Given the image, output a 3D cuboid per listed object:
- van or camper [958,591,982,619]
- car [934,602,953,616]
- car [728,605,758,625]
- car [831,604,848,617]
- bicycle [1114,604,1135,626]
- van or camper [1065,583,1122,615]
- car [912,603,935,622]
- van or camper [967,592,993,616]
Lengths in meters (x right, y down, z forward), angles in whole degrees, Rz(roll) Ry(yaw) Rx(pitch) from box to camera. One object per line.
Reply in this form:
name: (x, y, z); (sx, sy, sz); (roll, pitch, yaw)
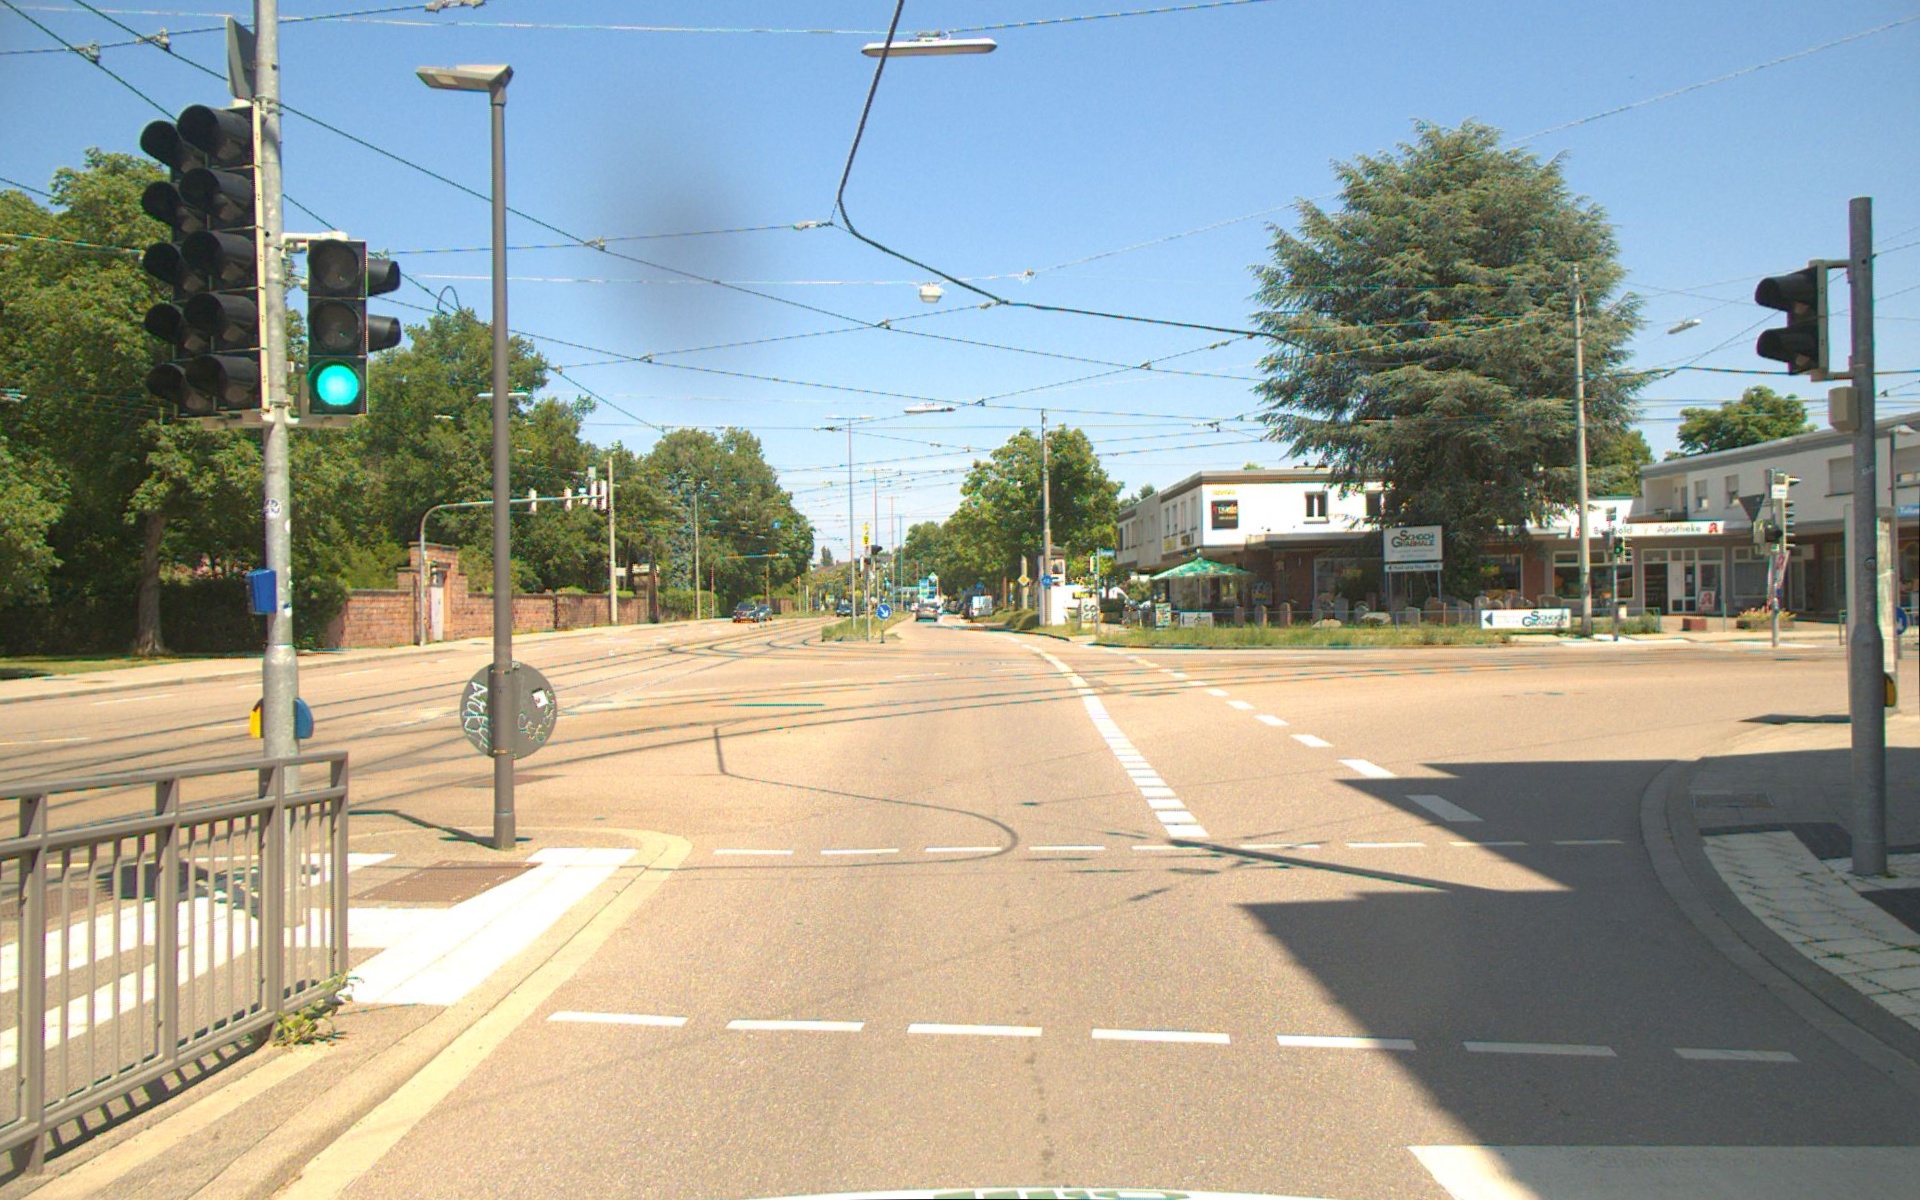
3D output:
van or camper: (0.902, 0.432, 151.151); (1.954, 2.507, 3.997); (-1, 0, -3)
car: (-1.739, 0.978, 175.255); (1.638, 1.460, 3.470); (-1, 0, -6)
car: (-17.839, 1.232, 136.247); (1.782, 1.631, 4.520); (-1, 0, 0)
car: (-13.216, 1.147, 181.697); (1.608, 1.424, 4.115); (-1, 0, -2)
bicycle: (8.288, 0.749, 83.210); (1.012, 1.032, 2.639); (-1, 0, 6)
van or camper: (11.445, -0.079, 141.795); (4.661, 2.718, 2.135); (-1, 0, -3)
car: (-2.877, 0.991, 130.381); (1.605, 1.374, 3.839); (-5, 0, -3)
van or camper: (1.546, 0.345, 128.763); (1.883, 1.803, 4.000); (-1, 0, 0)
